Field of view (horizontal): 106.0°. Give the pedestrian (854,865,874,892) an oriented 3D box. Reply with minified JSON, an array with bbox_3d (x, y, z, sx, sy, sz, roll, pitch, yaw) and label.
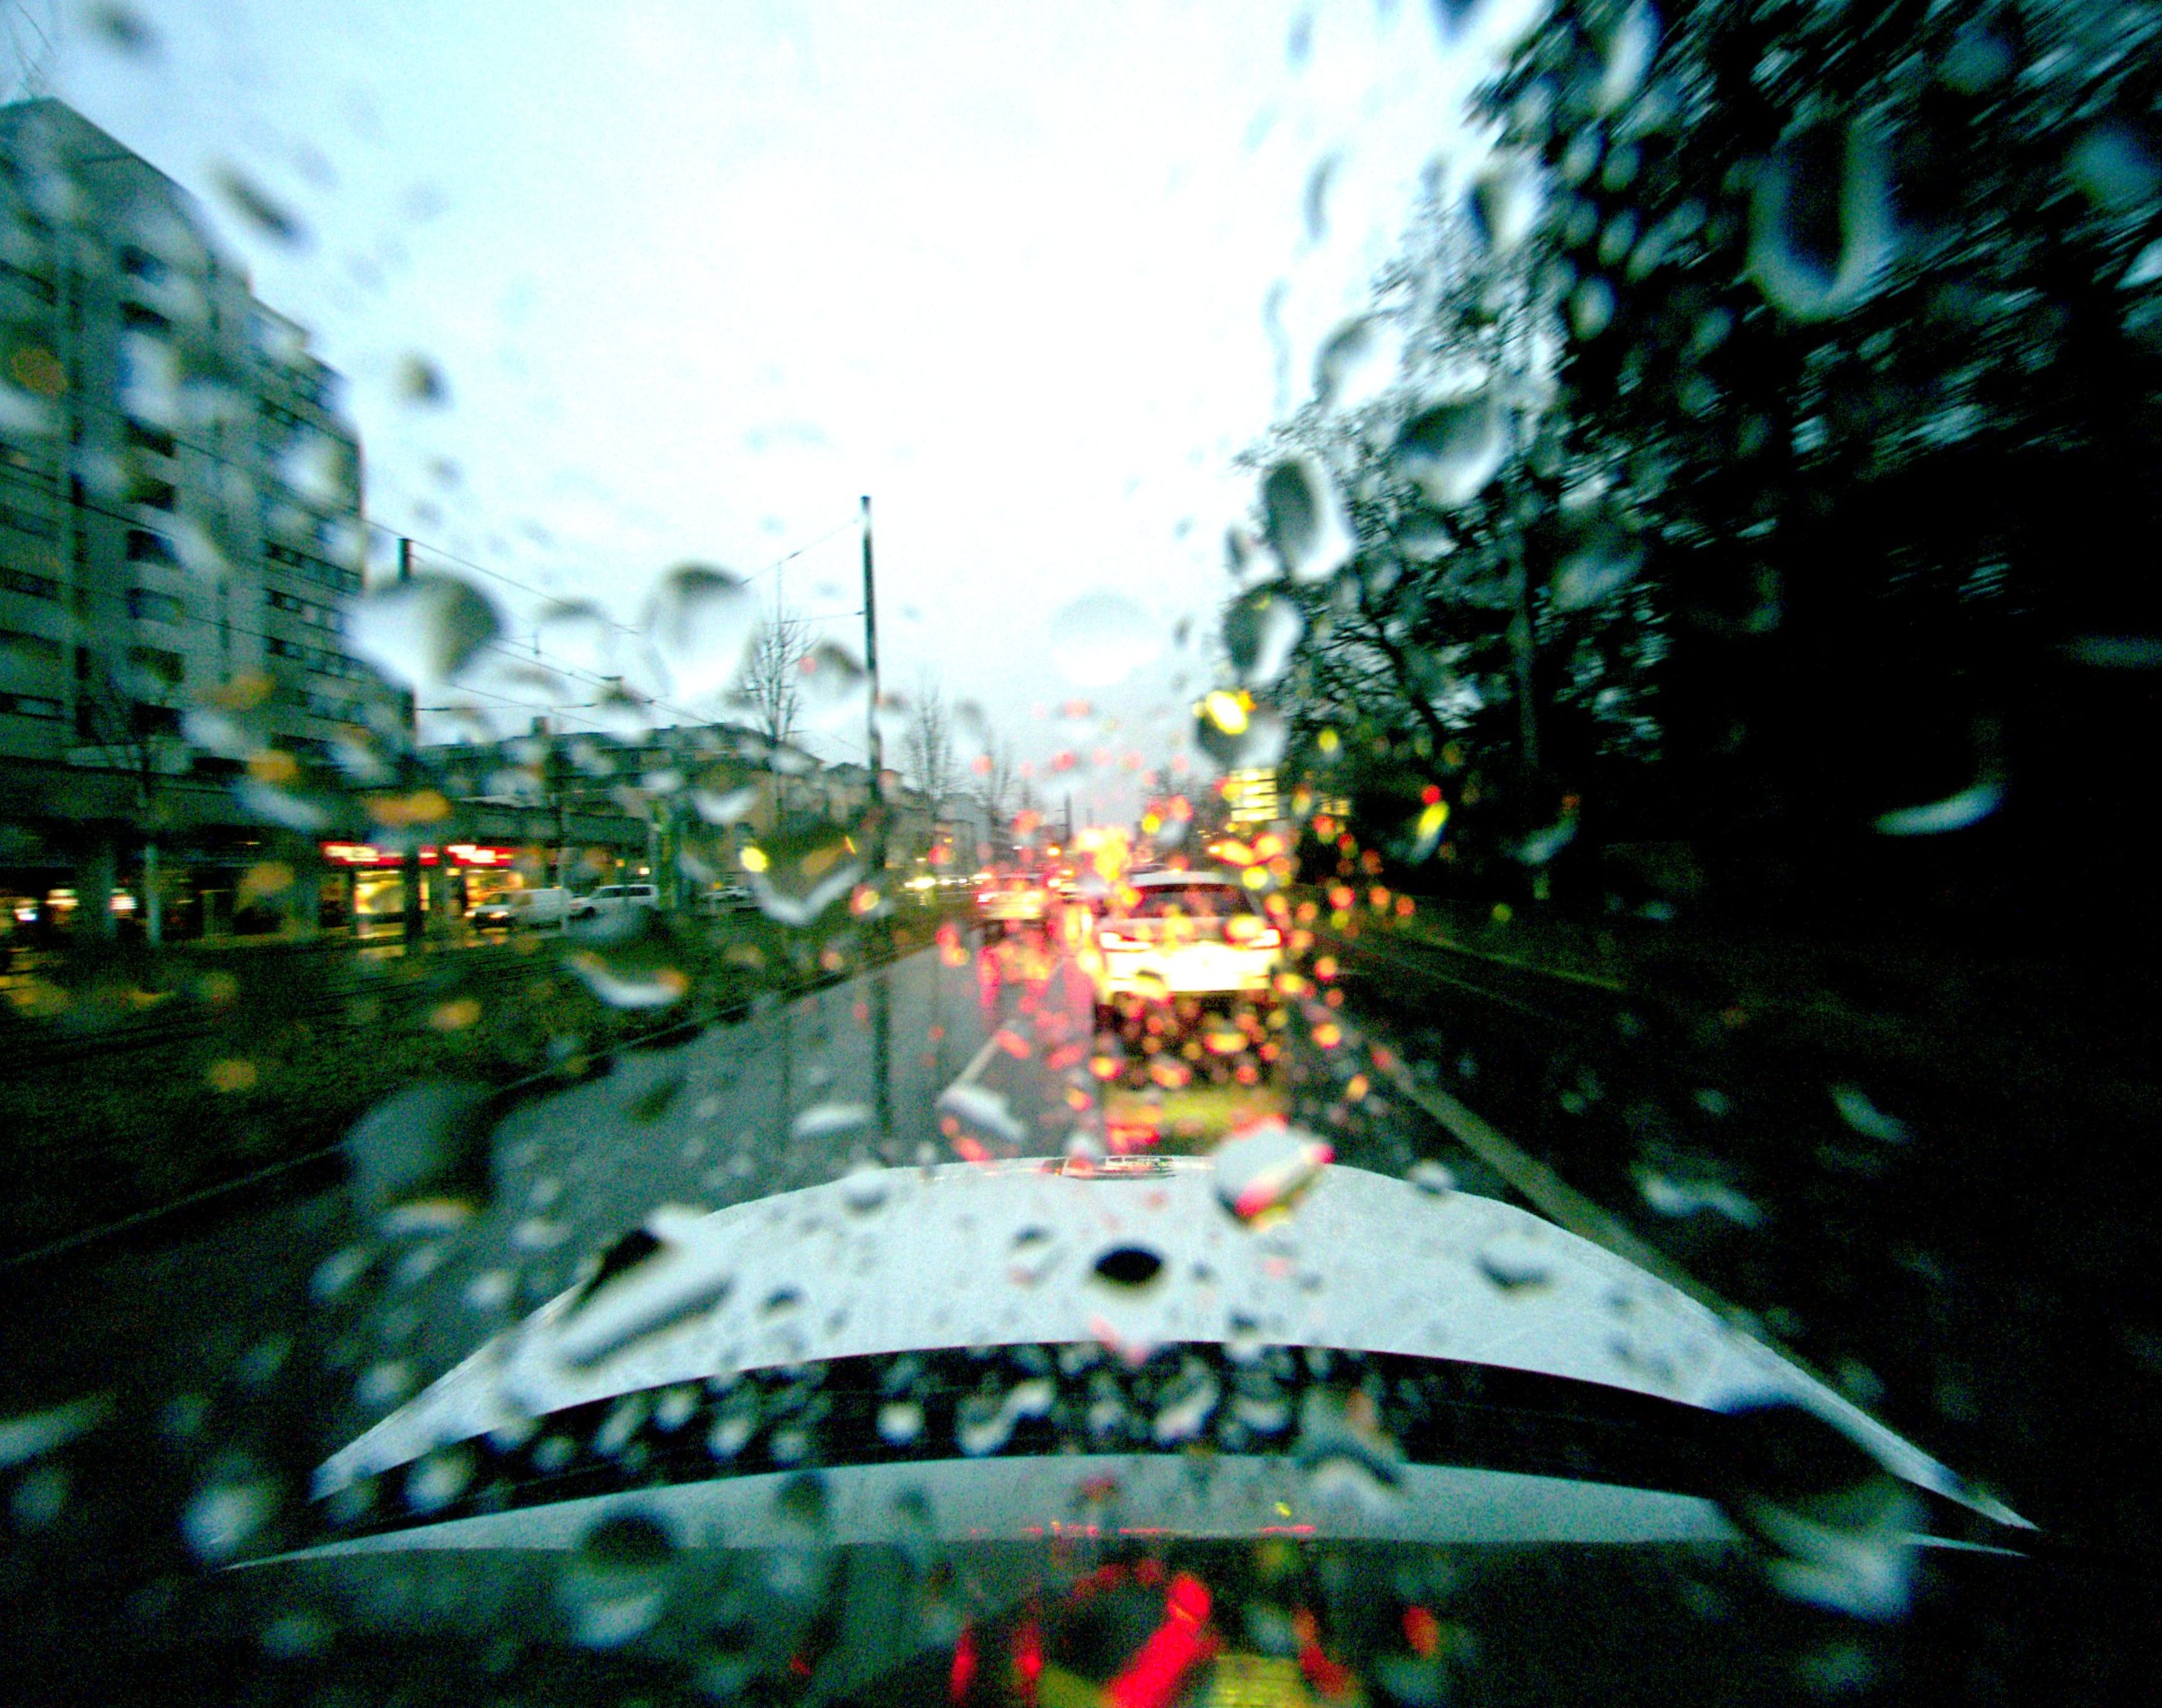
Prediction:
[{"bbox_3d":[-16.680,1.887,62.677,0.950,2.014,1.013,-3,-1,21],"label":"pedestrian"}]

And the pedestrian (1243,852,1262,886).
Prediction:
[{"bbox_3d":[10.525,0.926,49.981,0.953,2.014,1.010,-3,-1,9],"label":"pedestrian"}]

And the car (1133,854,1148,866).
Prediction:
[{"bbox_3d":[7.434,0.722,101.328,1.730,1.419,4.150,-3,-1,4],"label":"car"}]

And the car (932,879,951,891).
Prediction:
[{"bbox_3d":[-17.000,3.770,99.170,1.686,1.278,4.144,-2,-1,-2],"label":"car"}]

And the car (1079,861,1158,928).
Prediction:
[{"bbox_3d":[1.027,0.988,21.217,1.792,1.511,3.899,-3,-1,4],"label":"car"}]

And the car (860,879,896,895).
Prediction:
[{"bbox_3d":[-17.766,2.892,71.472,1.851,1.332,4.319,-1,-1,4],"label":"car"}]

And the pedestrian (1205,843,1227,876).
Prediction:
[{"bbox_3d":[8.687,0.359,52.318,0.961,2.014,1.001,-2,-1,-19],"label":"pedestrian"}]

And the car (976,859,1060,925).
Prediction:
[{"bbox_3d":[-1.567,0.934,21.435,1.686,1.533,4.002,-1,-1,3],"label":"car"}]

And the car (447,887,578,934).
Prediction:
[{"bbox_3d":[-27.982,2.733,40.390,1.982,2.046,5.578,-1,-1,9],"label":"car"}]

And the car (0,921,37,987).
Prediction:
[{"bbox_3d":[-30.558,2.687,20.883,4.153,1.693,1.966,0,-2,-29],"label":"car"}]

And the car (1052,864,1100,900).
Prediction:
[{"bbox_3d":[-0.188,1.256,37.841,1.791,1.466,4.590,-3,-1,4],"label":"car"}]

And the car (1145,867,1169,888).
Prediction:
[{"bbox_3d":[5.707,1.745,61.480,1.730,1.419,3.707,-3,-1,4],"label":"car"}]

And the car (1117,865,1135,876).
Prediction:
[{"bbox_3d":[5.353,1.975,96.473,1.921,1.288,4.004,-1,-1,4],"label":"car"}]

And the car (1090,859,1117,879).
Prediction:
[{"bbox_3d":[1.707,1.104,60.792,1.730,1.419,4.398,-3,-1,4],"label":"car"}]

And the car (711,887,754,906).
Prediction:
[{"bbox_3d":[-36.254,4.410,84.767,3.741,1.942,1.839,-1,-1,-4],"label":"car"}]

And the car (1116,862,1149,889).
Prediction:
[{"bbox_3d":[3.002,1.200,47.084,1.730,1.419,3.707,-3,-1,4],"label":"car"}]

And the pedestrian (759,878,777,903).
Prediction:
[{"bbox_3d":[-25.746,2.971,66.913,1.273,2.014,1.001,-2,-1,-20],"label":"pedestrian"}]

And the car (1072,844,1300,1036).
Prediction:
[{"bbox_3d":[1.068,0.765,9.408,1.854,1.556,4.943,-3,-1,4],"label":"car"}]

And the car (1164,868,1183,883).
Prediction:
[{"bbox_3d":[9.305,2.147,81.968,1.730,1.419,3.707,-3,-1,4],"label":"car"}]

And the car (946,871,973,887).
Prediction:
[{"bbox_3d":[-12.631,2.635,84.937,1.985,1.602,4.003,-1,-1,3],"label":"car"}]

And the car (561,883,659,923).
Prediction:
[{"bbox_3d":[-28.597,2.937,49.532,4.858,2.244,1.976,0,-2,-42],"label":"car"}]
